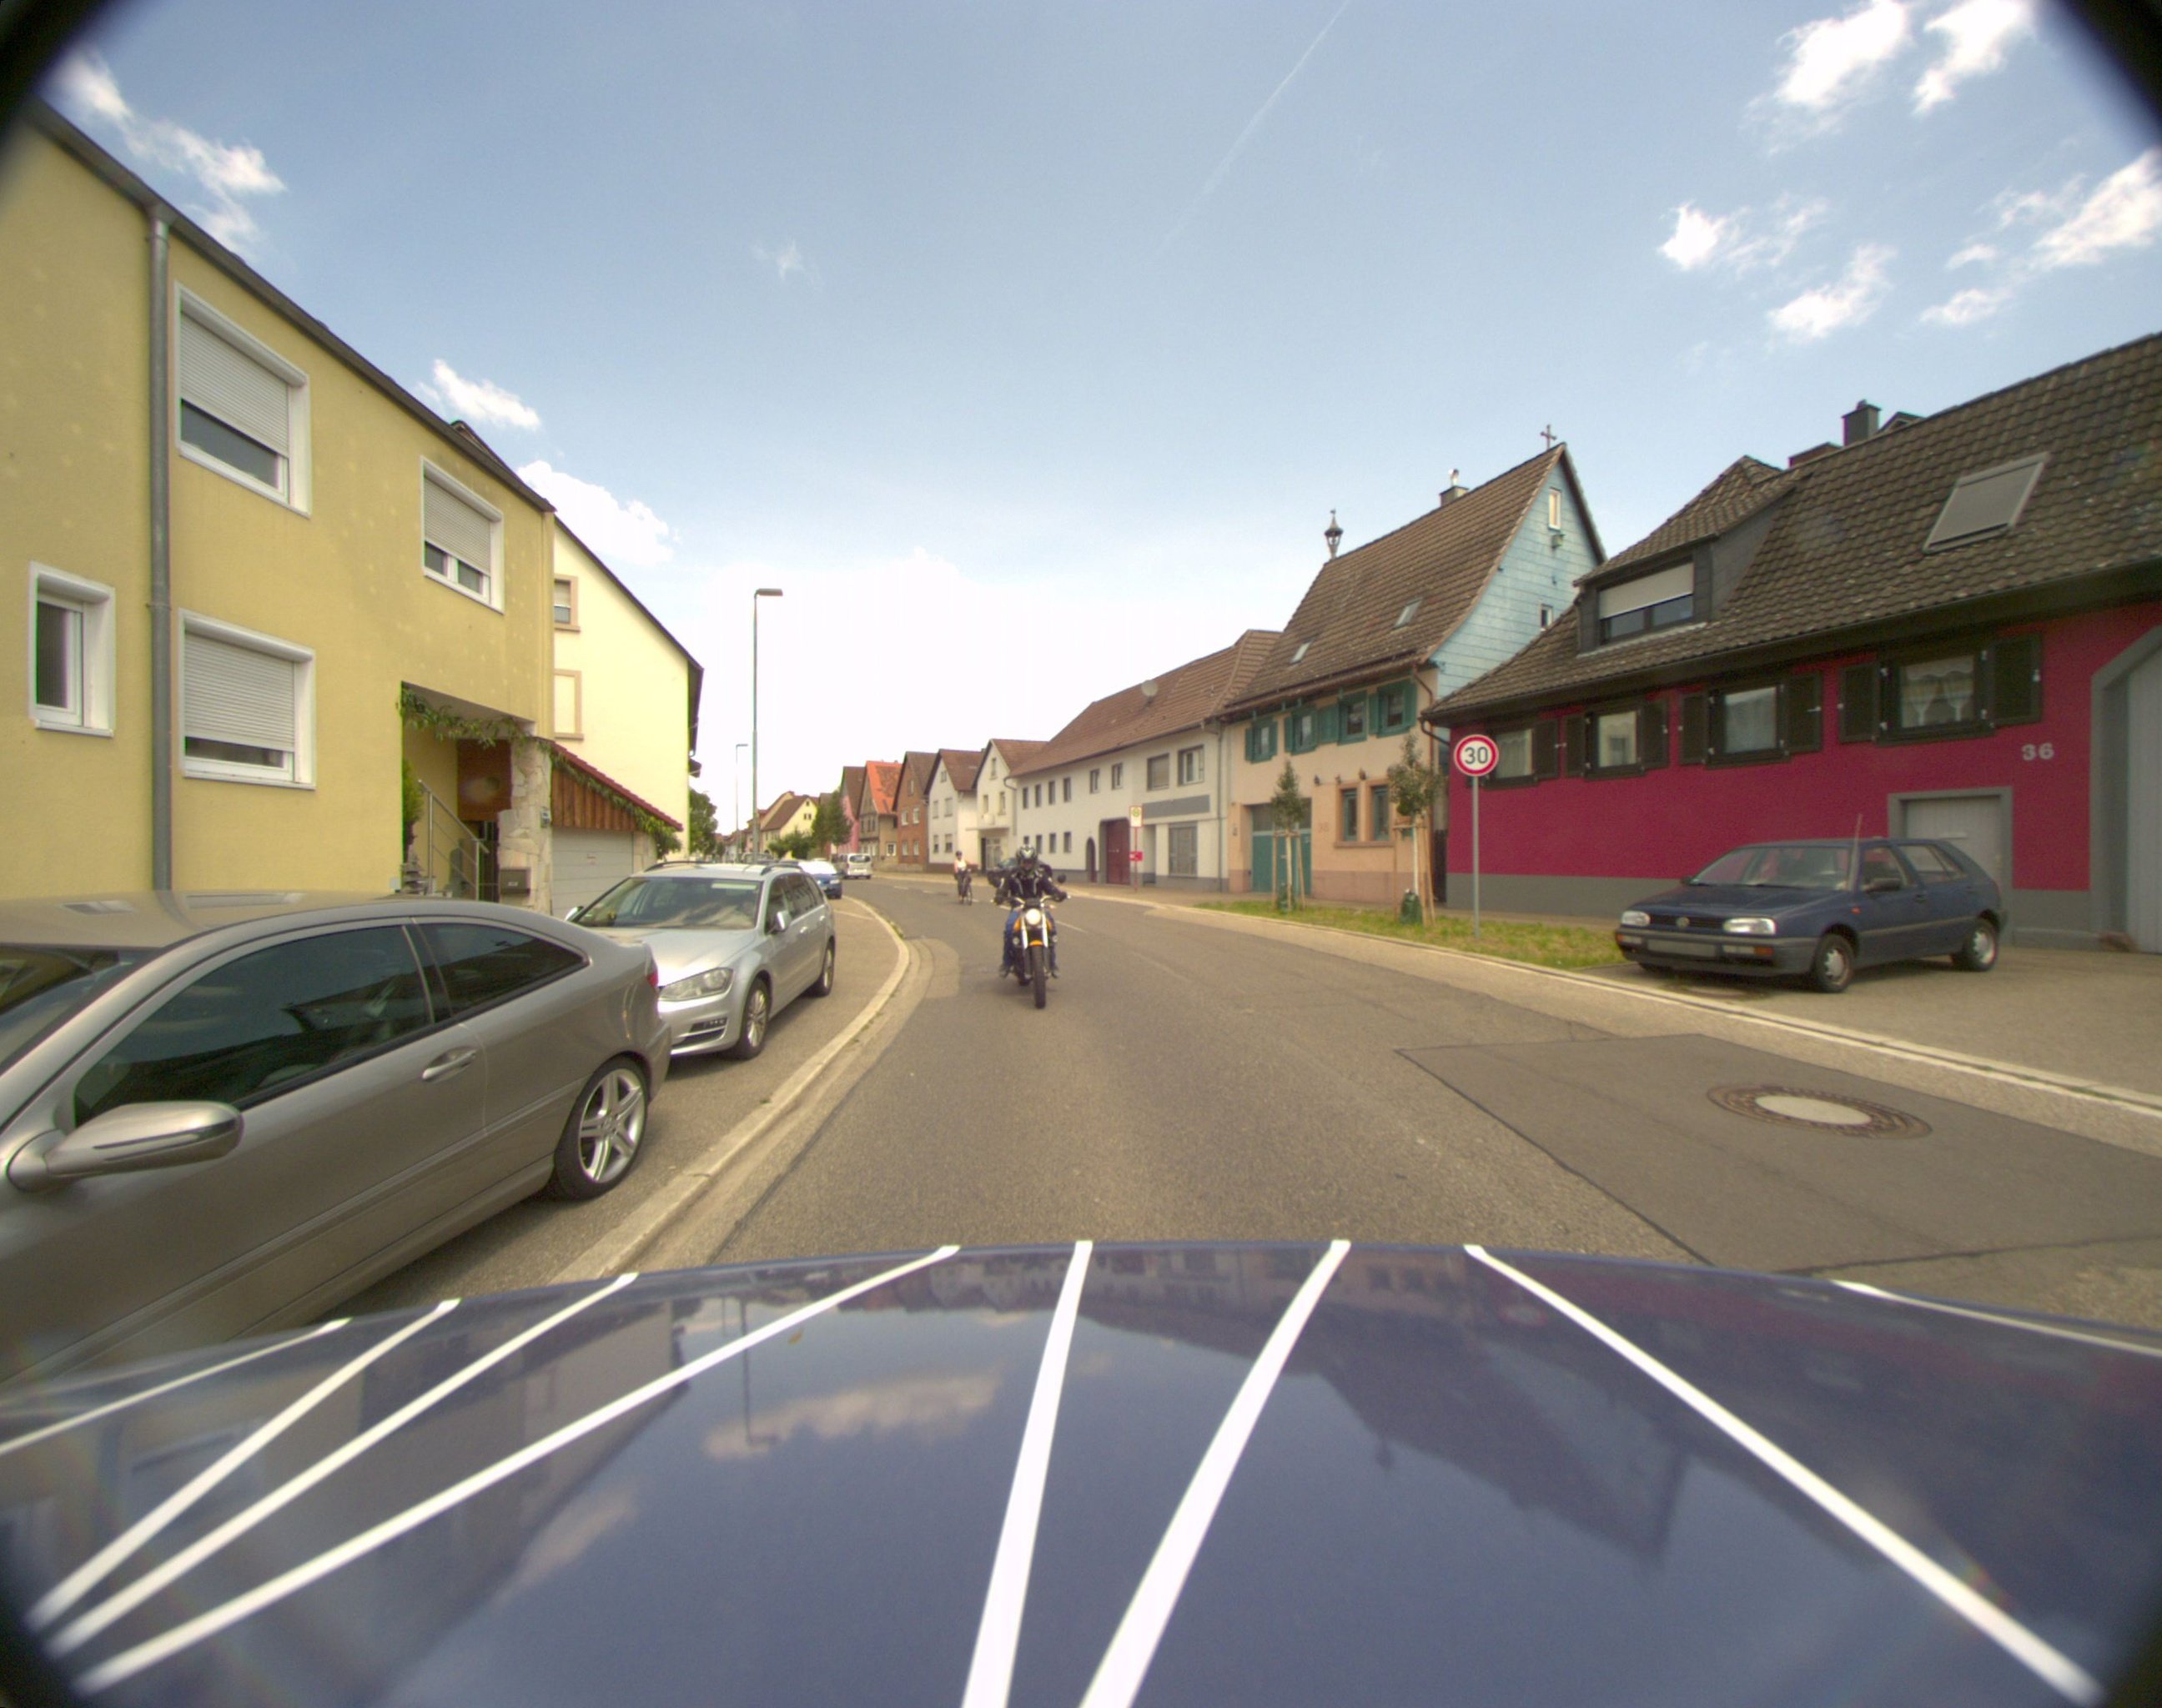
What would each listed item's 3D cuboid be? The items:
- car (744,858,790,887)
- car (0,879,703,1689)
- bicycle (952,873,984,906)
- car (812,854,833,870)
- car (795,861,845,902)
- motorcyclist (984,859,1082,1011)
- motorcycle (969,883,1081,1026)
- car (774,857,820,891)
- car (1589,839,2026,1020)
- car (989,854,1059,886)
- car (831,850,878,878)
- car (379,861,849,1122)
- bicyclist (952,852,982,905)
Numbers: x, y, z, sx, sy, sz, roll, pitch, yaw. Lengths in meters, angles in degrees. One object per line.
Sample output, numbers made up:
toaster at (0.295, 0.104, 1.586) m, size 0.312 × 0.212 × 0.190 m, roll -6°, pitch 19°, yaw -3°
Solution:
car at (-18.835, 1.080, 45.504) m, size 1.669 × 1.638 × 3.989 m, roll -3°, pitch 1°, yaw -35°
car at (-2.994, 0.915, 1.945) m, size 1.774 × 1.392 × 4.423 m, roll 2°, pitch 1°, yaw 1°
bicycle at (-3.765, 1.158, 25.126) m, size 0.934 × 1.005 × 1.923 m, roll -2°, pitch 0°, yaw -11°
car at (-27.372, 0.861, 80.405) m, size 1.687 × 1.521 × 3.491 m, roll -2°, pitch 2°, yaw -26°
car at (-10.216, 1.003, 29.619) m, size 1.730 × 1.378 × 3.992 m, roll 0°, pitch 1°, yaw -20°
motorcyclist at (-0.514, 0.876, 8.570) m, size 1.000 × 1.591 × 0.799 m, roll -1°, pitch 2°, yaw 1°
motorcycle at (-0.540, 1.006, 8.326) m, size 0.985 × 1.234 × 2.103 m, roll -3°, pitch 0°, yaw 1°
car at (-13.856, 0.980, 36.926) m, size 1.776 × 1.520 × 3.993 m, roll -1°, pitch -2°, yaw -25°
car at (7.589, 0.632, 7.968) m, size 3.983 × 1.456 × 1.718 m, roll -2°, pitch 1°, yaw -20°
car at (-2.871, 0.779, 37.290) m, size 1.812 × 1.412 × 4.541 m, roll -2°, pitch 0°, yaw -26°
car at (-16.220, 0.663, 54.345) m, size 2.003 × 1.790 × 4.923 m, roll -2°, pitch 2°, yaw -31°
car at (-3.518, 0.884, 6.857) m, size 1.890 × 1.521 × 4.333 m, roll 2°, pitch 0°, yaw -6°
bicyclist at (-3.765, 0.787, 25.097) m, size 0.910 × 1.679 × 0.760 m, roll -2°, pitch 2°, yaw -10°
